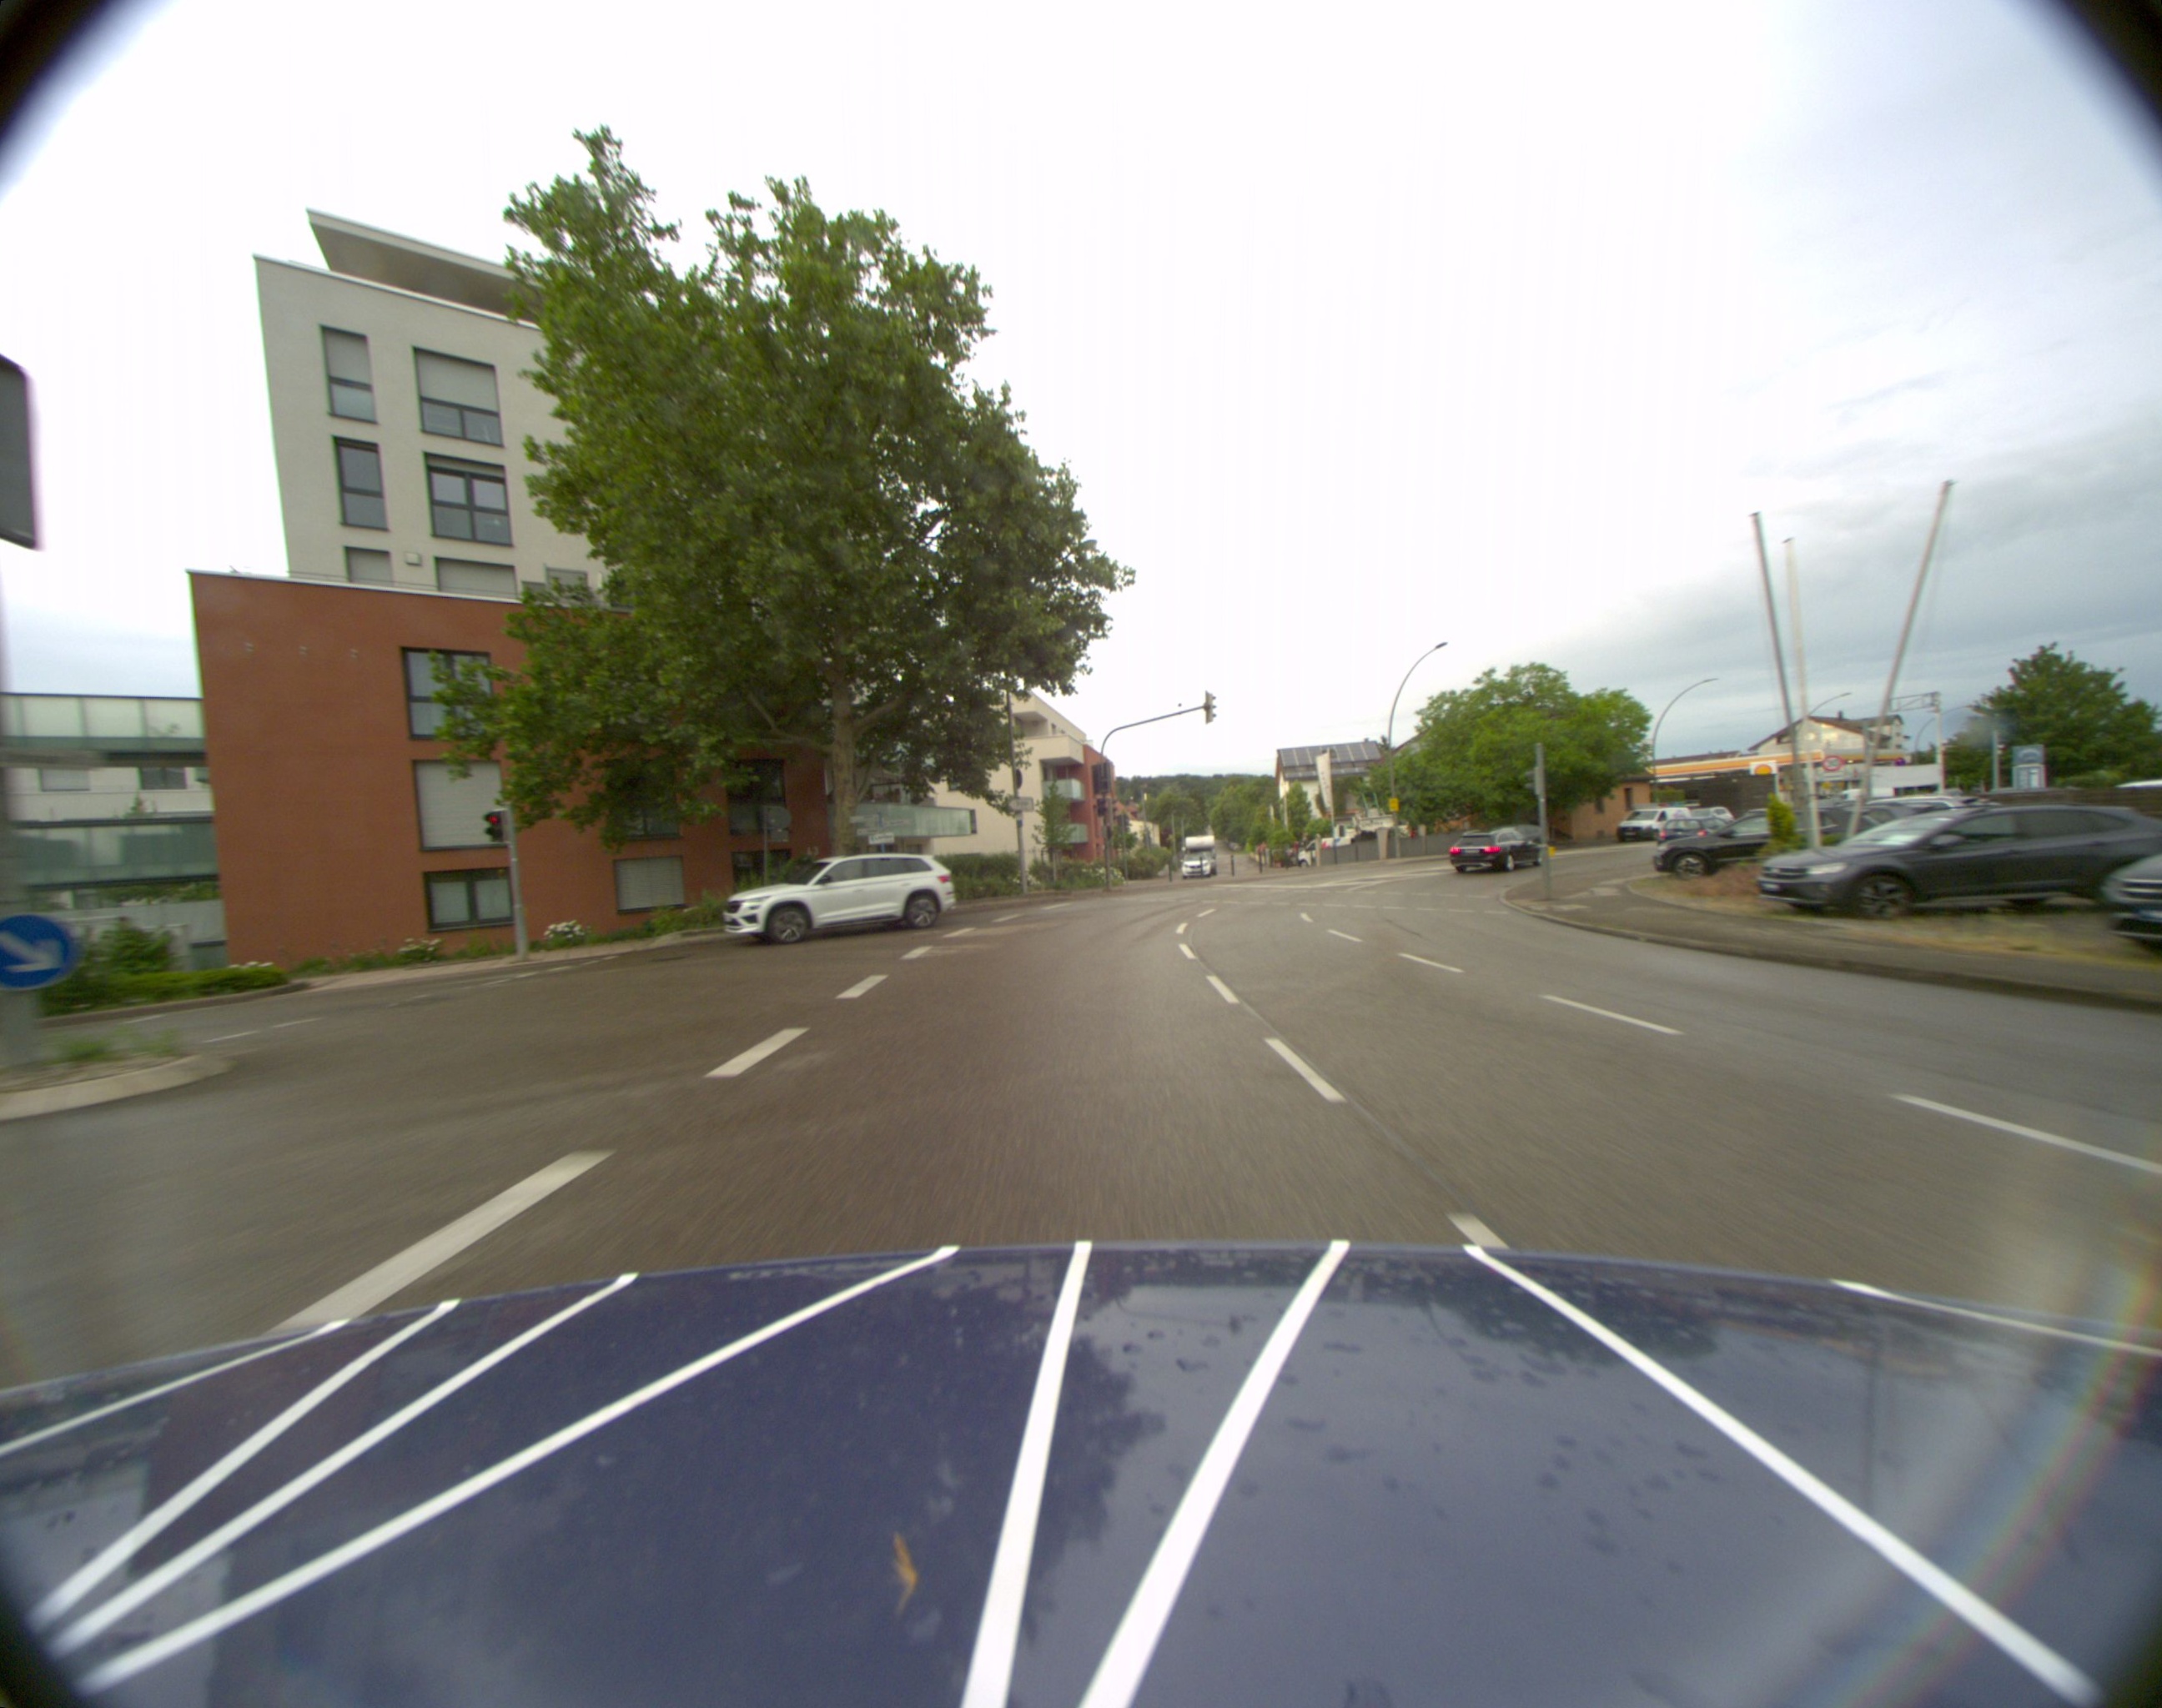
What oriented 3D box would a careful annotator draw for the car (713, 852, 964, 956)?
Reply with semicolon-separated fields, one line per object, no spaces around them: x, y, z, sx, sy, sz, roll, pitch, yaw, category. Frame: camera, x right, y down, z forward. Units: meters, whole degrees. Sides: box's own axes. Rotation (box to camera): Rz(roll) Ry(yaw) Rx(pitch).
-4.960;0.929;15.917;4.624;1.629;1.668;-5;2;-37;car

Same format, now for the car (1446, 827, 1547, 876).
14.786;-0.123;26.938;4.006;1.420;1.765;-5;4;-39;car

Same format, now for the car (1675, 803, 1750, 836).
40.086;-2.195;48.219;4.929;1.852;2.049;-3;0;-30;car

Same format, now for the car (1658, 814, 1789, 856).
24.154;-0.717;28.648;1.465;1.420;3.553;-5;4;-39;car

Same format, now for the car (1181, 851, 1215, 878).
7.208;0.626;47.207;1.768;1.459;4.001;-3;0;5;car

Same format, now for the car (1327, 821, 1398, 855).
18.815;-1.110;50.936;1.773;2.093;4.212;-5;4;-30;car

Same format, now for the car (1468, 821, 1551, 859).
19.054;-0.655;33.718;4.006;1.420;1.765;-5;4;-38;car

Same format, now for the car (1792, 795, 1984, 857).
23.802;-0.786;22.516;1.596;1.541;3.765;-4;0;-40;car

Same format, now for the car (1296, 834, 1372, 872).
15.453;-0.107;46.613;1.773;2.093;4.373;-5;3;-29;car

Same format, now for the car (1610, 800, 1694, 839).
33.842;-2.033;44.987;5.263;2.074;2.049;-3;0;-30;car

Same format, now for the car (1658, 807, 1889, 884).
15.945;-0.158;17.639;1.596;1.541;3.765;-4;0;-42;car

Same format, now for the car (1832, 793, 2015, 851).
26.655;-0.966;24.153;1.596;1.541;3.765;-4;0;-40;car

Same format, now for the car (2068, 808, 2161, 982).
11.558;0.272;6.463;3.765;1.558;1.673;-3;0;7;car

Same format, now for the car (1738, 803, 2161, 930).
12.433;0.178;10.940;4.152;1.501;1.674;-3;1;17;car

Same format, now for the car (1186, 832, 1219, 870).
10.227;-0.310;64.311;2.573;2.758;6.128;-2;3;8;car

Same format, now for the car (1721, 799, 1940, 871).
18.826;-0.432;19.221;1.596;1.541;3.765;-4;0;-40;car
